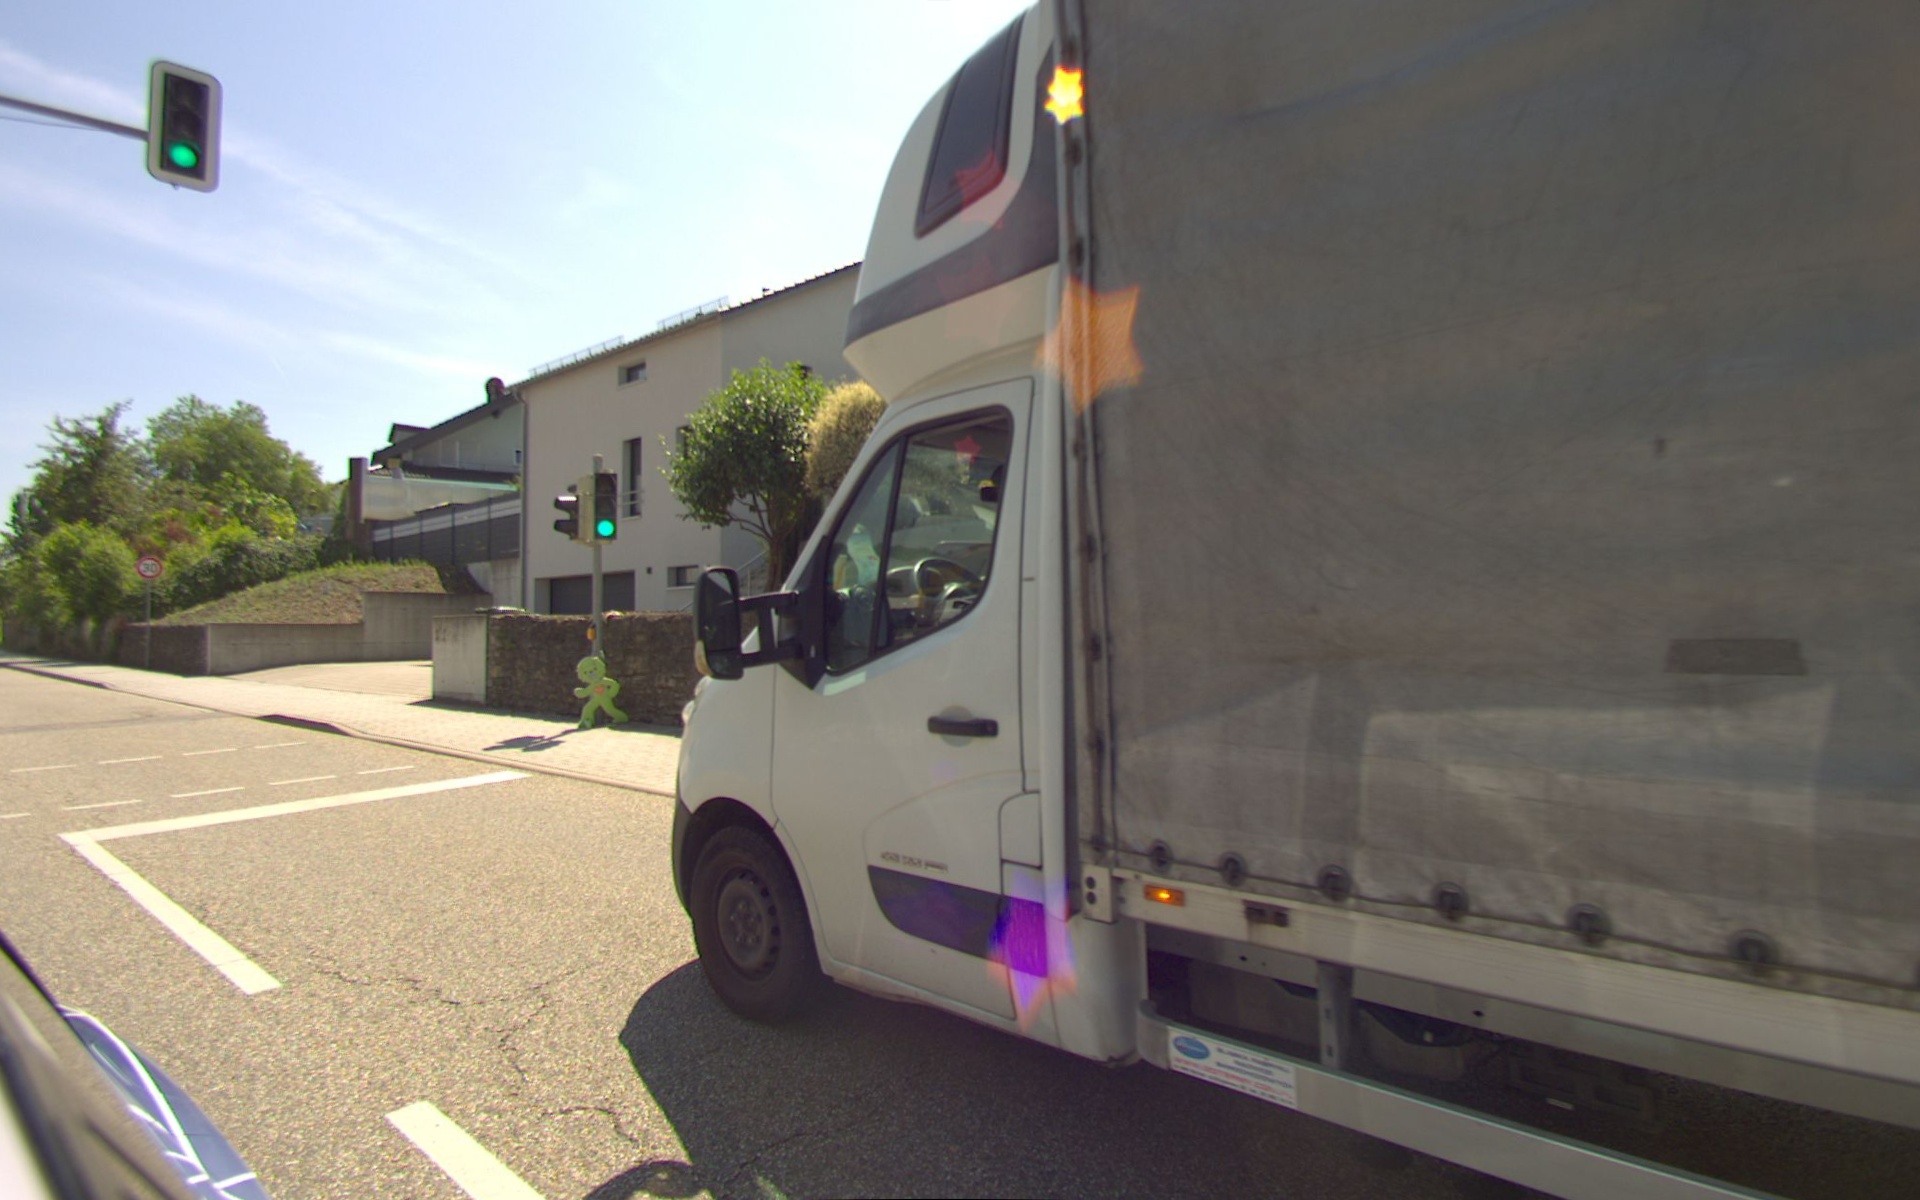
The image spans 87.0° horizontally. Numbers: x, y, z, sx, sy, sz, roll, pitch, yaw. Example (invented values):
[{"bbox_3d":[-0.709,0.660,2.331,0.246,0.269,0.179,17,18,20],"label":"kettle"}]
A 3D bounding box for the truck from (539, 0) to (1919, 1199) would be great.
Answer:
[{"bbox_3d":[1.989,-0.367,2.215,7.618,3.393,2.439,-2,0,44],"label":"truck"}]

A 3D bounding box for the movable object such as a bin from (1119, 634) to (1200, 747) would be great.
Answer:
[{"bbox_3d":[1.985,0.875,10.057,0.634,1.063,0.466,-2,-1,40],"label":"movable object such as a bin"}]

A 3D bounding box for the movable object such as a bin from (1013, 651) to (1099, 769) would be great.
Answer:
[{"bbox_3d":[0.829,0.930,8.761,0.553,0.955,0.495,-2,-2,40],"label":"movable object such as a bin"}]

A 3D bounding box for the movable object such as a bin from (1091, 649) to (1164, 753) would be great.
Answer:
[{"bbox_3d":[1.604,0.949,9.684,0.530,0.945,0.442,-2,-2,40],"label":"movable object such as a bin"}]

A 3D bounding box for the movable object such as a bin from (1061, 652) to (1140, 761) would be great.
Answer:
[{"bbox_3d":[1.286,0.957,9.259,0.561,0.935,0.442,-2,-1,40],"label":"movable object such as a bin"}]
